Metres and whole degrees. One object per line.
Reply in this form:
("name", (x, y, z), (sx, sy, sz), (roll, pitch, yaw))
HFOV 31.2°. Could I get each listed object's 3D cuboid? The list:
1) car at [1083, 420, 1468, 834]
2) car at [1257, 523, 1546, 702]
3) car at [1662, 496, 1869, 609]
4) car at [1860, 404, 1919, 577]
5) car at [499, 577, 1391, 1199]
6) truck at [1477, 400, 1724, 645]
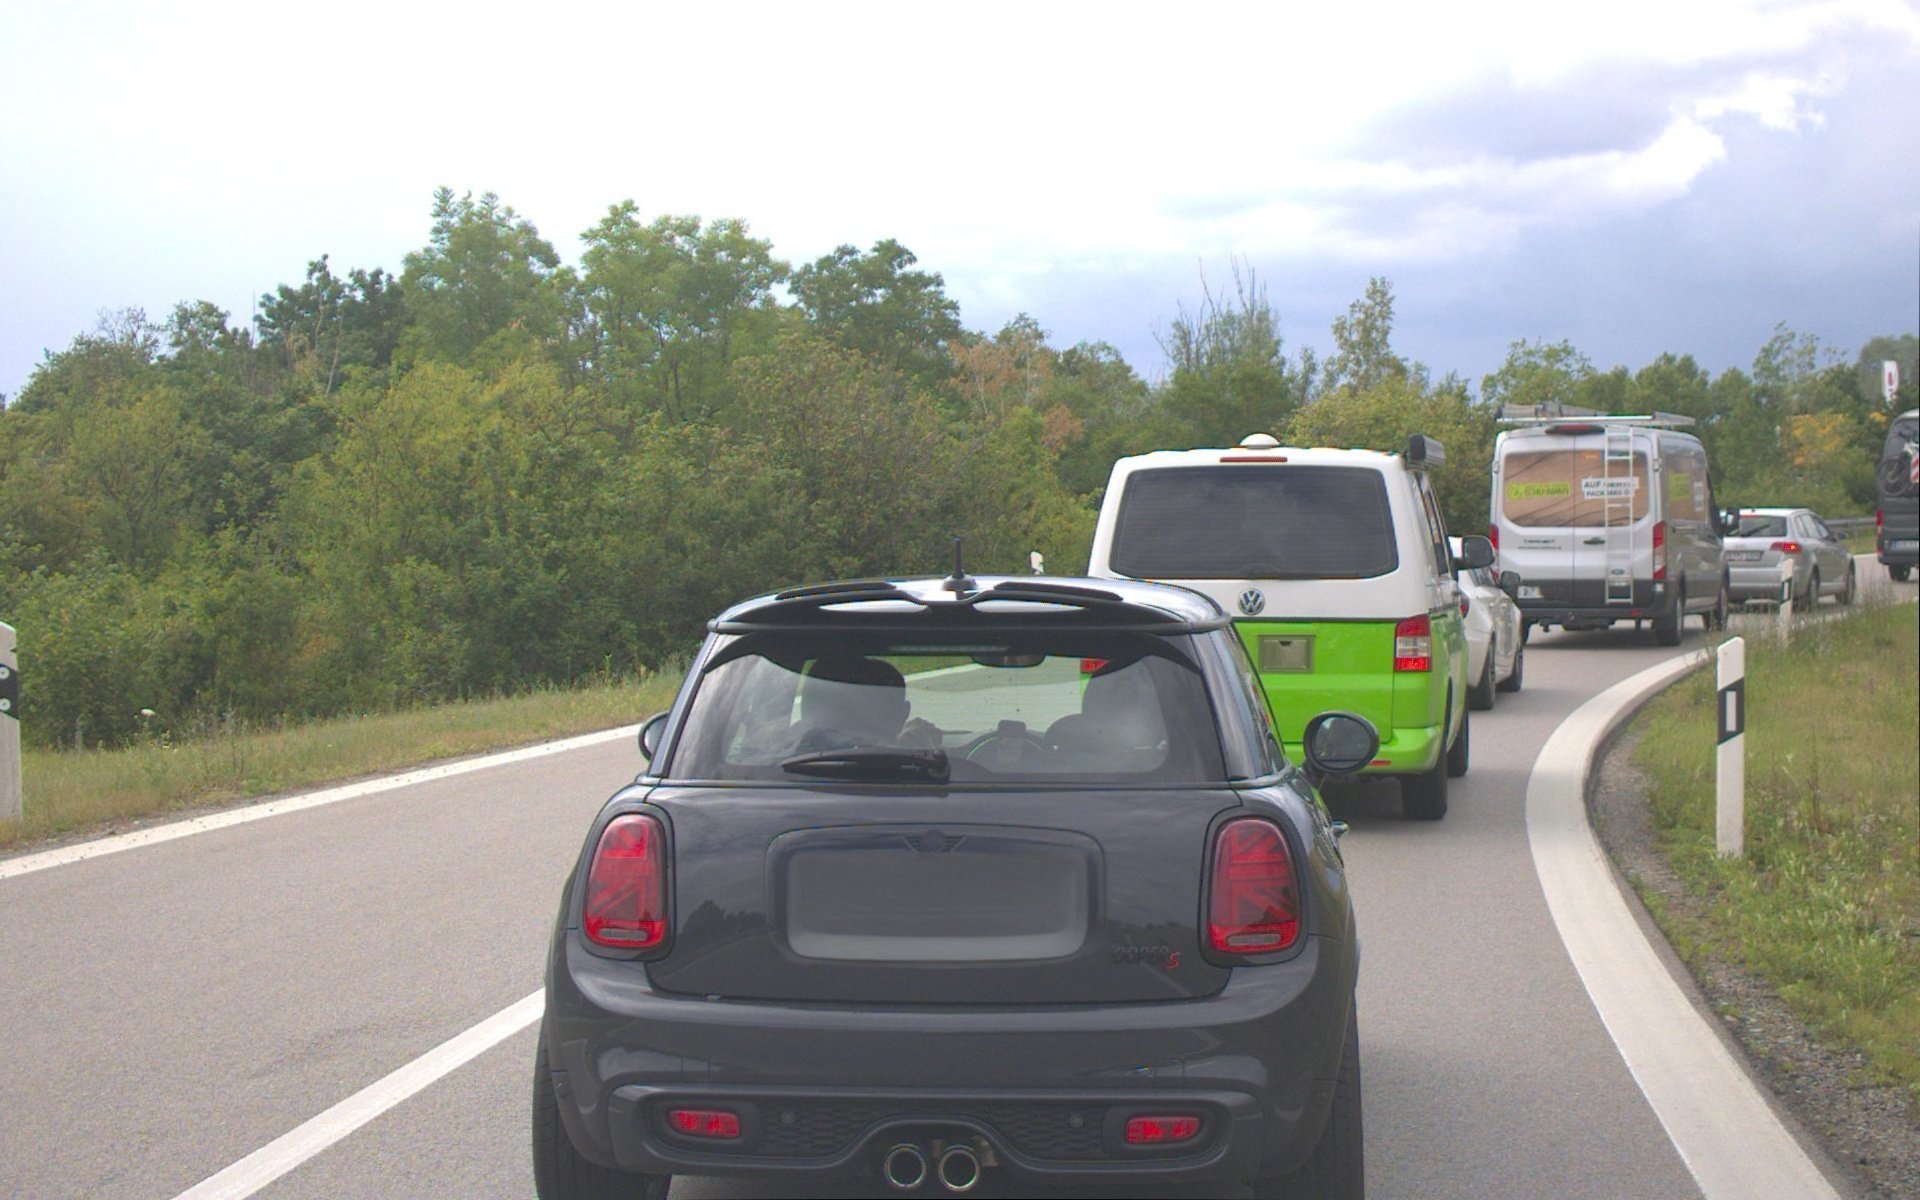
("car", (1.827, 0.107, 18.795), (1.785, 2.007, 3.998), (1, 0, 10))
("car", (3.760, 0.080, 28.798), (1.764, 1.394, 3.722), (0, 1, 18))
("car", (11.312, -0.654, 48.131), (1.869, 1.505, 3.994), (0, 1, 28))
("car", (16.506, -1.783, 57.161), (2.108, 2.787, 3.994), (1, 1, 27))
("car", (0.097, 0.654, 8.525), (1.727, 1.409, 3.724), (0, 0, 4))
("truck", (7.519, -0.897, 39.933), (2.180, 2.649, 5.104), (0, 1, 18))
